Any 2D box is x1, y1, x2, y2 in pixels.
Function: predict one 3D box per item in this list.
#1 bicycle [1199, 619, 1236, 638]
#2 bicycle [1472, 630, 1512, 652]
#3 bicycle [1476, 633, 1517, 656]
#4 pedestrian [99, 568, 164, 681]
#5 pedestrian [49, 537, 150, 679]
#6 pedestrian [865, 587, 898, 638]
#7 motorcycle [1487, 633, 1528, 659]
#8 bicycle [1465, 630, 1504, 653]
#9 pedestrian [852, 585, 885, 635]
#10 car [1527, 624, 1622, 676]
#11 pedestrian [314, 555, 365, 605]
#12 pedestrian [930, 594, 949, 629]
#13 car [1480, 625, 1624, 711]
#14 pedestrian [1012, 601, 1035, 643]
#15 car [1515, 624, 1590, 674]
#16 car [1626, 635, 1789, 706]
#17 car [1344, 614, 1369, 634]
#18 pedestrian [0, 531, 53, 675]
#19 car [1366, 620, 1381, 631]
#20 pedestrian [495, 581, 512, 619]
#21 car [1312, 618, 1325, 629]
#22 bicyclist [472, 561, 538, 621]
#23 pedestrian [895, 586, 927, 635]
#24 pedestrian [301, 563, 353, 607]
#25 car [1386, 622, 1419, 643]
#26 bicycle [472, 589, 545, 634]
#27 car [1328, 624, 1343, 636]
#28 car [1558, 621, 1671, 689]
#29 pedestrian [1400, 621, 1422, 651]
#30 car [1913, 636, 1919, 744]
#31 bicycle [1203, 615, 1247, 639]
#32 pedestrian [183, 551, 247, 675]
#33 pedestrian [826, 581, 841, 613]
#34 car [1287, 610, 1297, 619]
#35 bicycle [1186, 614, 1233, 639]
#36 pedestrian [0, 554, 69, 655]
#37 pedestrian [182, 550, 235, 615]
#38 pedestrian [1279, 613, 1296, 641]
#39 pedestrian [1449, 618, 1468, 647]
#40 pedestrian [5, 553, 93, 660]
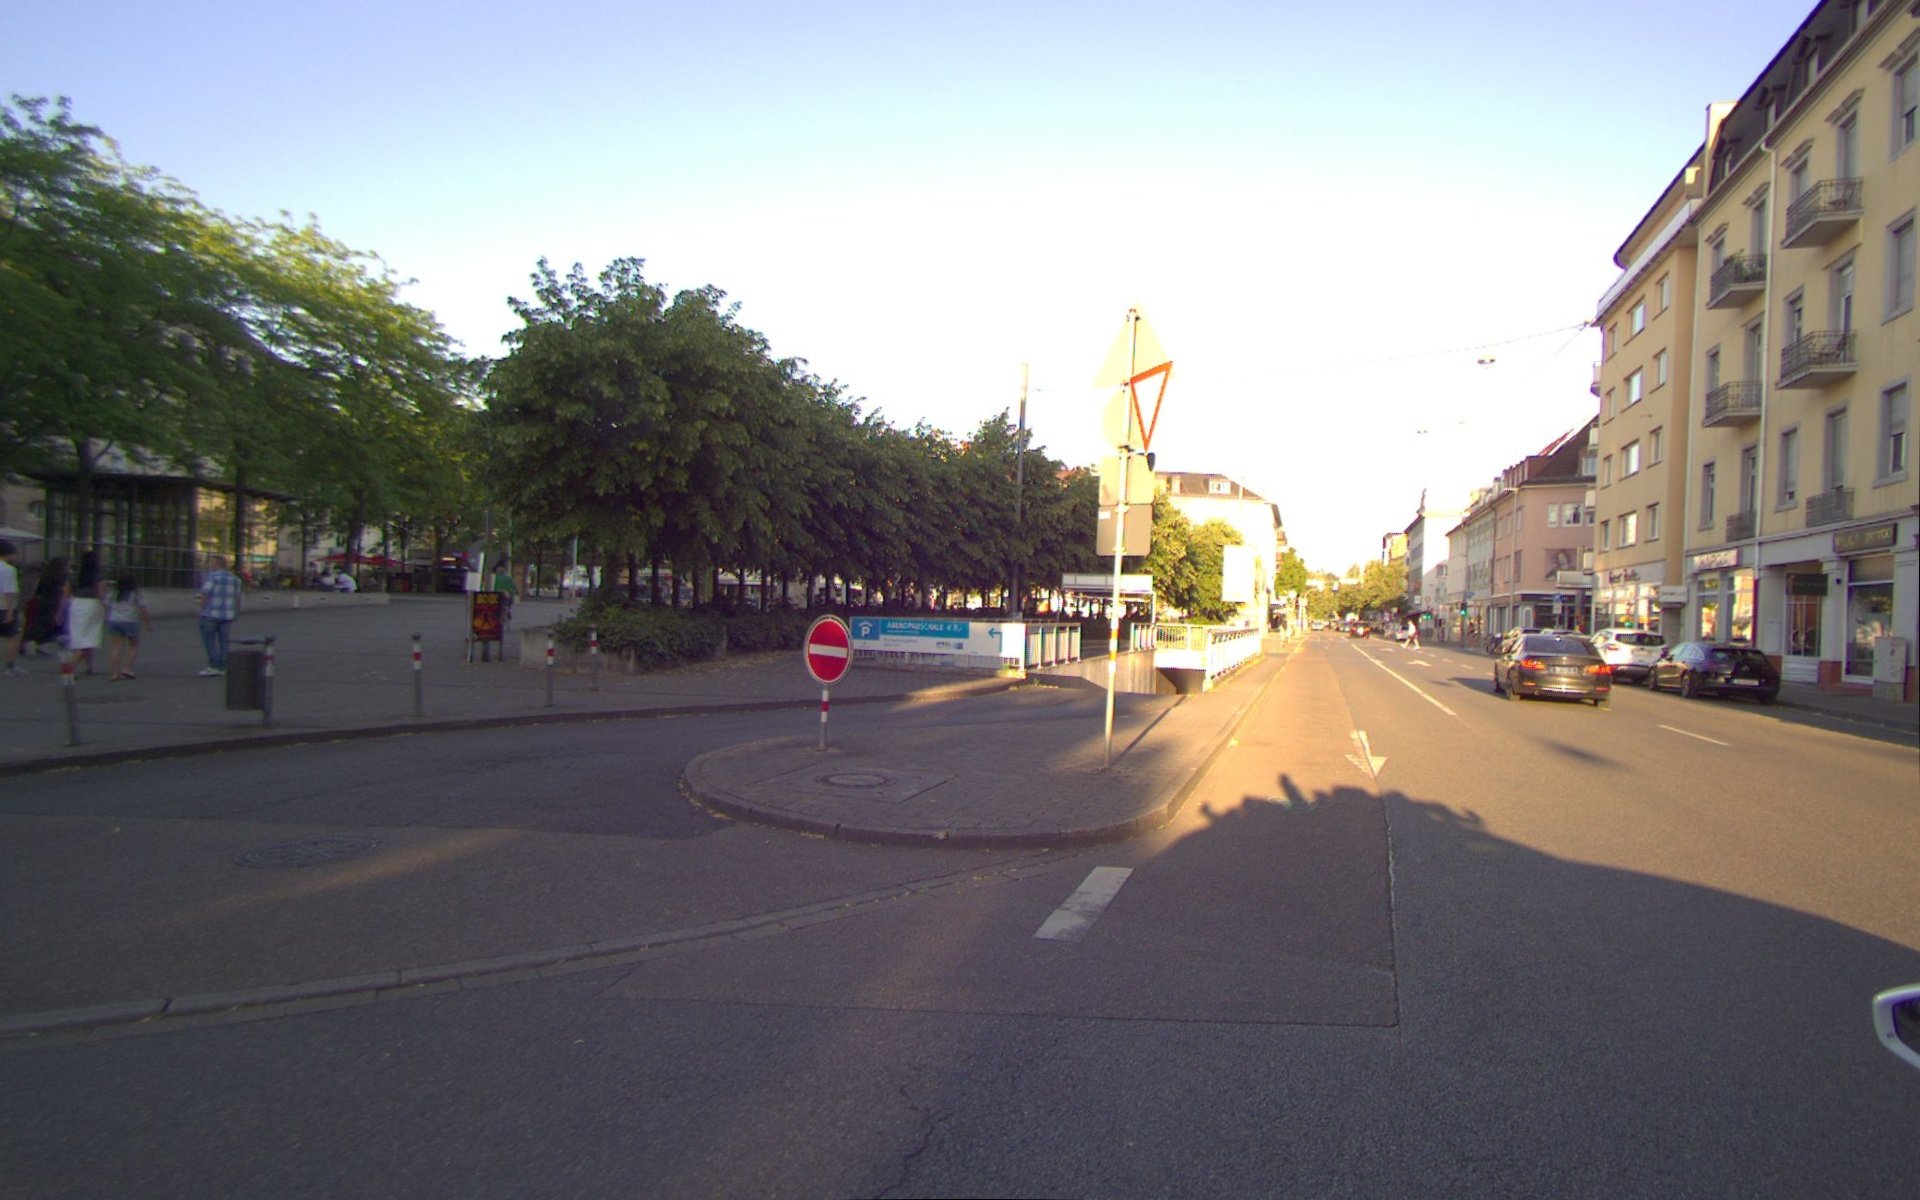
[{"bbox_3d":[15.537,1.714,60.608,2.009,0.984,0.636,5,1,18],"label":"bicycle"},{"bbox_3d":[29.505,2.257,55.692,1.852,1.127,0.521,3,0,17],"label":"bicycle"},{"bbox_3d":[29.383,2.421,55.064,1.852,1.127,0.593,3,-1,17],"label":"bicycle"},{"bbox_3d":[-11.450,0.327,13.898,0.597,1.506,0.709,1,2,-34],"label":"pedestrian"},{"bbox_3d":[-11.913,0.101,13.919,0.765,1.900,0.715,2,1,5],"label":"pedestrian"},{"bbox_3d":[-3.246,0.496,41.378,0.901,2.040,0.914,3,1,42],"label":"pedestrian"},{"bbox_3d":[28.908,2.423,53.058,1.782,1.280,0.716,1,0,17],"label":"motorcycle"},{"bbox_3d":[29.932,2.364,57.344,1.852,1.183,0.723,2,0,16],"label":"bicycle"},{"bbox_3d":[-3.777,0.418,41.641,0.901,2.040,0.914,3,1,42],"label":"pedestrian"},{"bbox_3d":[22.592,1.778,37.113,1.982,1.564,4.868,2,1,20],"label":"car"},{"bbox_3d":[-21.196,-0.677,34.330,1.244,1.669,0.707,2,0,-8],"label":"pedestrian"},{"bbox_3d":[-1.168,0.657,57.622,0.790,1.974,0.729,2,0,27],"label":"pedestrian"},{"bbox_3d":[12.495,1.350,21.477,1.857,1.511,4.204,3,0,20],"label":"car"},{"bbox_3d":[3.039,1.053,48.110,0.791,1.974,0.728,2,0,32],"label":"pedestrian"},{"bbox_3d":[24.987,2.024,42.517,1.837,1.786,4.408,2,1,19],"label":"car"},{"bbox_3d":[19.035,1.725,25.877,1.960,1.453,4.850,3,0,19],"label":"car"},{"bbox_3d":[37.942,2.244,96.206,1.960,1.773,4.000,3,0,20],"label":"car"},{"bbox_3d":[-12.964,0.022,13.445,0.971,1.878,0.884,1,2,-24],"label":"pedestrian"},{"bbox_3d":[65.294,4.042,158.670,1.961,1.638,4.000,3,0,20],"label":"car"},{"bbox_3d":[-24.440,-0.014,53.839,0.720,1.974,0.800,2,0,-22],"label":"pedestrian"},{"bbox_3d":[56.351,3.678,157.884,1.863,1.617,4.000,3,0,21],"label":"car"},{"bbox_3d":[-12.061,-0.236,26.660,1.356,1.529,0.752,2,0,-6],"label":"bicyclist"},{"bbox_3d":[-2.096,0.452,42.906,0.901,2.040,0.914,3,1,42],"label":"pedestrian"},{"bbox_3d":[-21.145,-0.498,33.585,1.244,1.398,0.736,2,0,-9],"label":"pedestrian"},{"bbox_3d":[38.862,2.824,88.289,2.295,1.625,3.894,3,0,20],"label":"car"},{"bbox_3d":[-12.013,0.290,26.796,0.933,1.116,2.328,2,0,-2],"label":"bicycle"},{"bbox_3d":[53.593,4.246,143.333,1.854,1.506,3.999,3,0,21],"label":"car"},{"bbox_3d":[20.563,1.652,31.771,1.851,1.768,4.659,2,1,19],"label":"car"},{"bbox_3d":[27.525,2.196,61.325,0.855,1.743,0.759,3,0,-5],"label":"pedestrian"},{"bbox_3d":[14.644,1.398,13.107,1.672,1.606,3.999,2,1,20],"label":"car"},{"bbox_3d":[15.608,1.597,59.234,2.390,1.253,0.518,4,1,18],"label":"bicycle"},{"bbox_3d":[-10.958,0.185,14.794,0.708,1.769,0.681,1,2,-34],"label":"pedestrian"},{"bbox_3d":[-8.031,-0.207,63.992,0.719,1.974,0.801,2,0,-21],"label":"pedestrian"},{"bbox_3d":[71.759,3.138,216.880,1.798,2.040,3.675,3,0,21],"label":"car"},{"bbox_3d":[14.400,1.552,58.064,2.474,1.301,0.812,3,0,40],"label":"bicycle"},{"bbox_3d":[-14.764,0.068,15.980,0.668,1.563,0.591,2,1,-13],"label":"pedestrian"},{"bbox_3d":[-20.832,-0.473,27.845,0.903,1.750,0.702,2,1,-6],"label":"pedestrian"},{"bbox_3d":[21.398,1.757,65.705,0.867,1.743,0.716,3,0,8],"label":"pedestrian"},{"bbox_3d":[31.350,2.051,63.172,0.781,1.743,0.812,3,0,12],"label":"pedestrian"},{"bbox_3d":[-14.146,0.095,15.620,0.787,1.603,0.727,1,2,-20],"label":"pedestrian"}]
